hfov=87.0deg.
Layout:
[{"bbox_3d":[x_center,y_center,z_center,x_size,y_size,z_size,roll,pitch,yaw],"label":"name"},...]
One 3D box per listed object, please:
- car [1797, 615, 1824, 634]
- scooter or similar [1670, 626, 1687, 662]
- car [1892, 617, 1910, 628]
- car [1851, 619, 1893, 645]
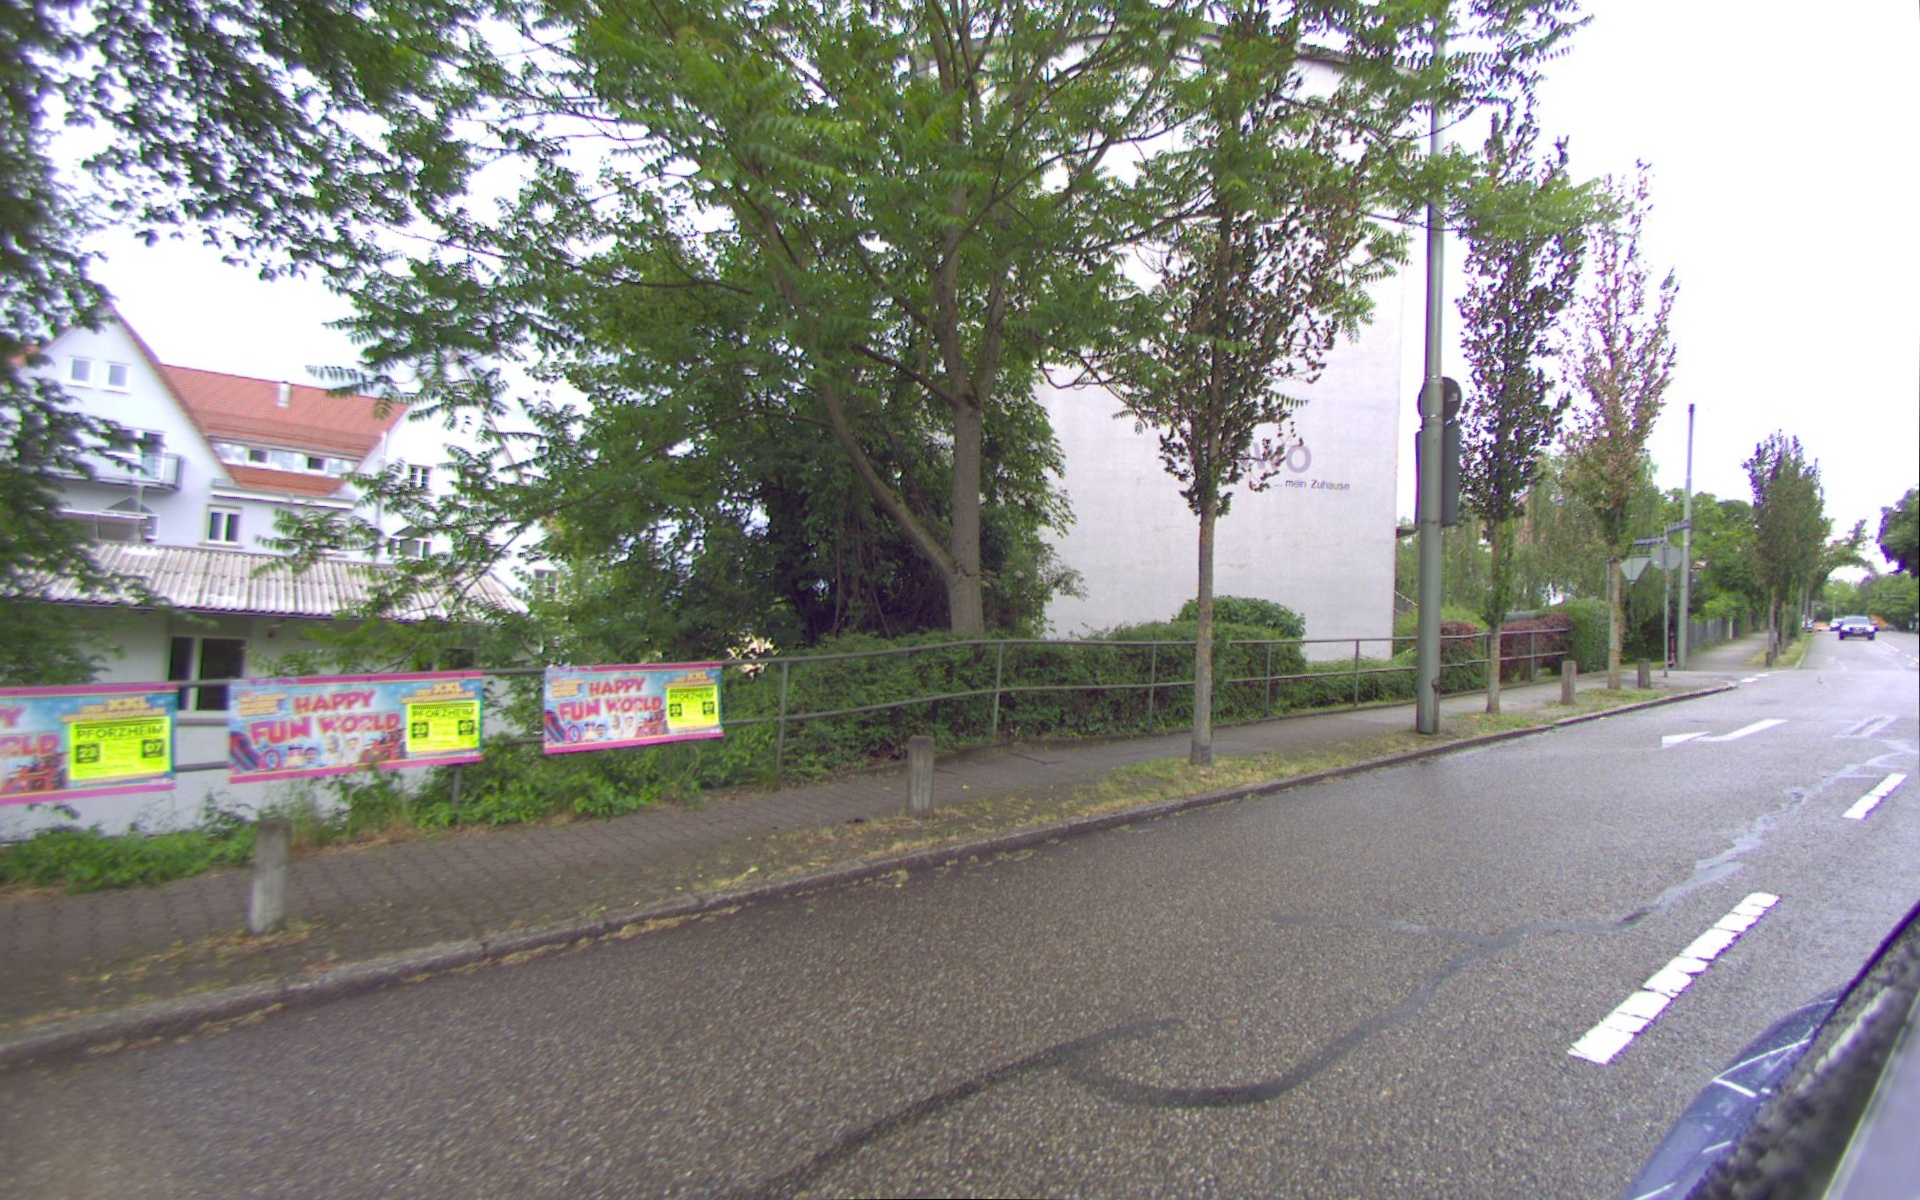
[{"bbox_3d":[77.626,2.195,92.422,1.822,1.650,3.942,1,0,39],"label":"car"},{"bbox_3d":[26.293,1.594,37.041,0.342,1.270,1.249,-3,-2,40],"label":"scooter or similar"},{"bbox_3d":[140.027,3.348,150.625,1.744,1.568,3.860,4,2,40],"label":"car"},{"bbox_3d":[63.358,2.249,70.277,1.993,1.706,3.936,-4,-4,44],"label":"car"}]
